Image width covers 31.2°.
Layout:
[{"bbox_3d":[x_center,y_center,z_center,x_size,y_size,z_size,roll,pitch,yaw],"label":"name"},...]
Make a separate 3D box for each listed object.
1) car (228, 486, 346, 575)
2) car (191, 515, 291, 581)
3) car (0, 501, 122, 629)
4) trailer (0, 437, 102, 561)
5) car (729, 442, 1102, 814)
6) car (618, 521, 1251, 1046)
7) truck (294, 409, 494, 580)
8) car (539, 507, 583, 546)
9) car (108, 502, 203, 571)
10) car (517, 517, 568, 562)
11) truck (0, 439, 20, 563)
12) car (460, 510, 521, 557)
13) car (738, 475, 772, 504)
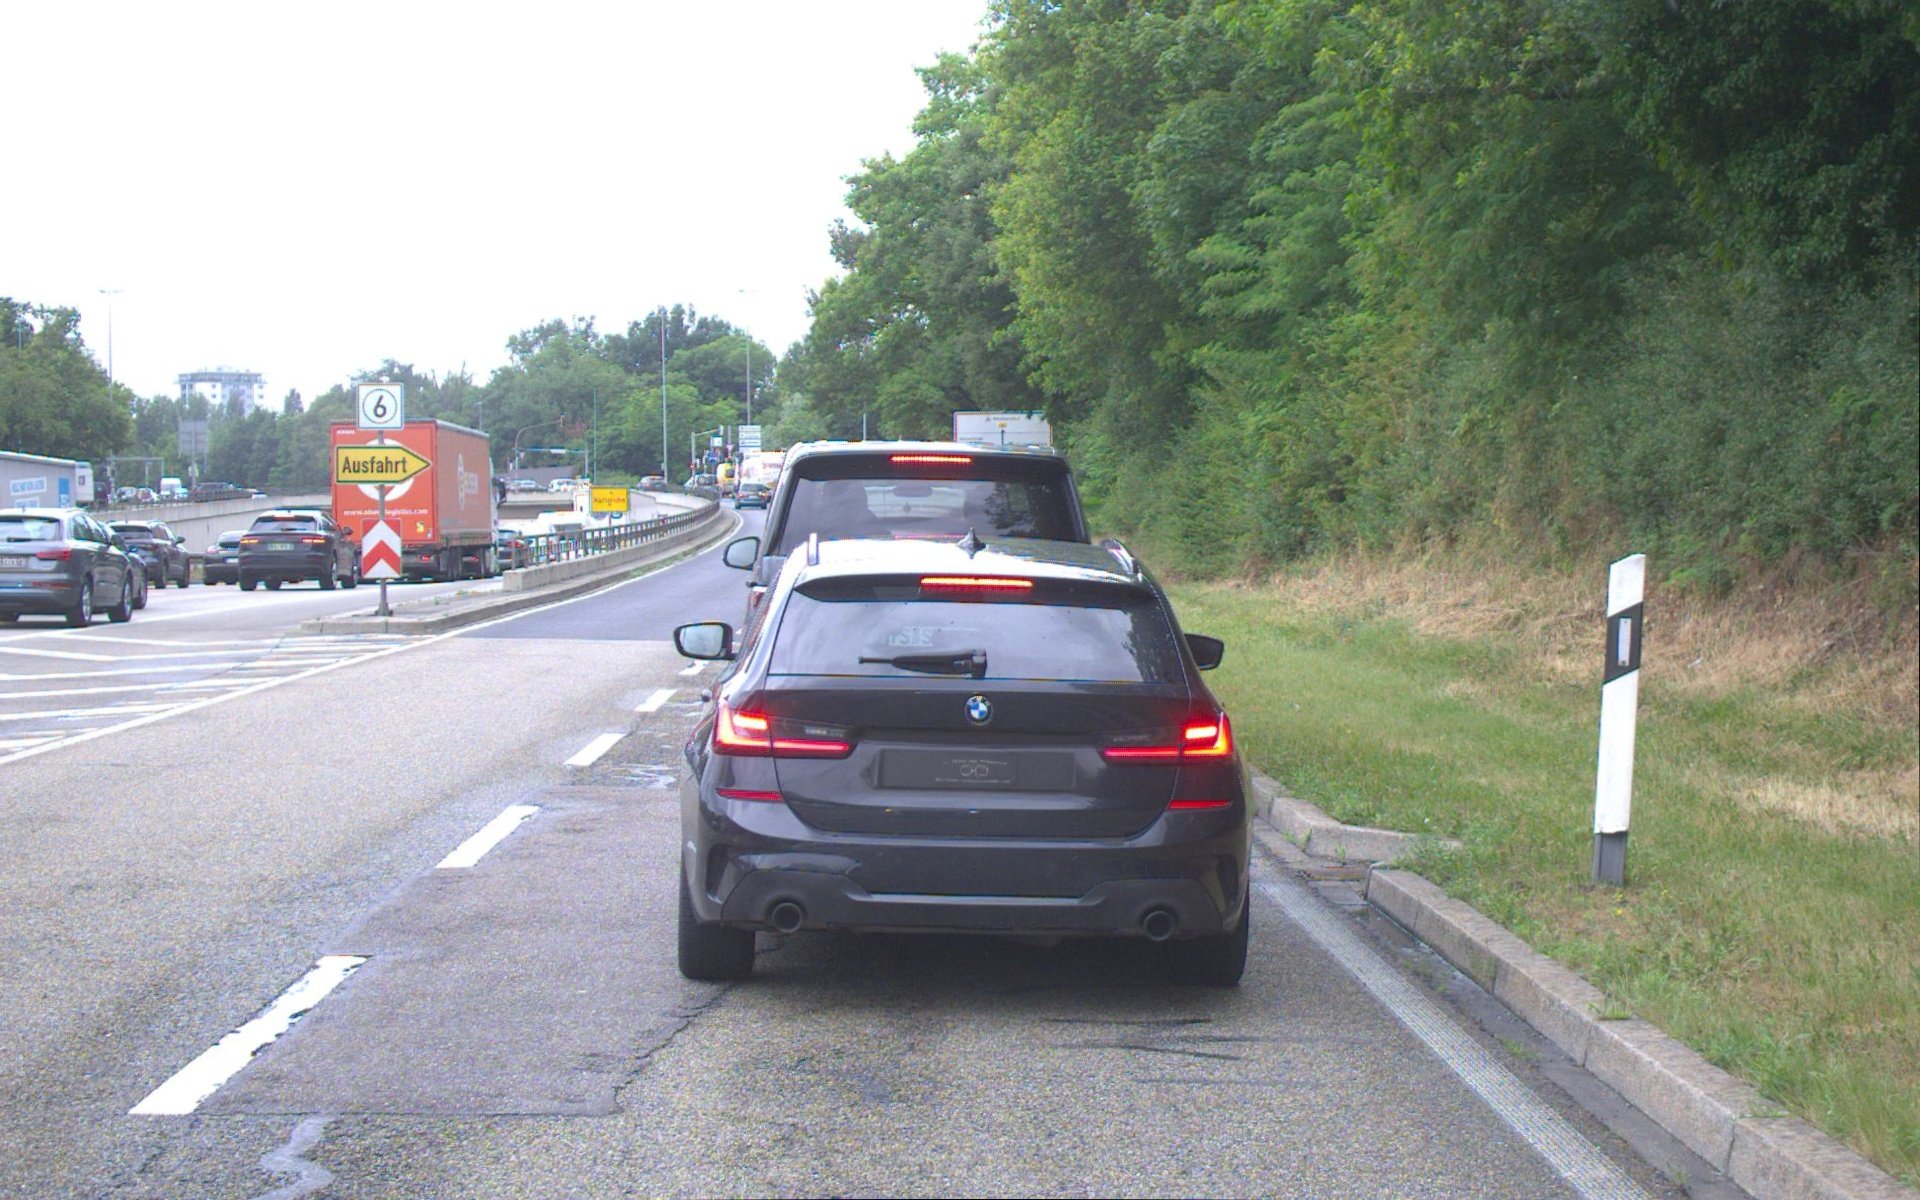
[{"bbox_3d":[-14.327,-1.465,73.332,1.860,1.809,4.000,1,1,-2],"label":"car"},{"bbox_3d":[-18.525,-1.343,88.691,1.859,1.612,4.000,1,1,-2],"label":"car"},{"bbox_3d":[-12.487,-0.504,45.965,1.792,1.634,4.001,0,1,-3],"label":"car"},{"bbox_3d":[-30.011,-3.106,108.314,2.686,3.690,13.260,1,1,0],"label":"trailer"},{"bbox_3d":[-0.253,0.110,19.081,1.822,1.815,4.000,1,1,-1],"label":"car"},{"bbox_3d":[-0.153,0.487,11.987,1.825,1.477,4.001,-1,2,-2],"label":"car"},{"bbox_3d":[-14.547,-2.739,89.547,3.489,4.059,13.594,-1,2,-3],"label":"truck"},{"bbox_3d":[-15.887,-2.939,136.961,1.556,1.546,4.001,0,1,-4],"label":"car"},{"bbox_3d":[-18.317,-1.435,78.409,1.521,1.514,4.001,1,1,-5],"label":"car"},{"bbox_3d":[-14.631,-2.118,120.648,1.556,1.546,3.819,1,1,-4],"label":"car"},{"bbox_3d":[-30.039,-2.961,101.433,2.772,3.697,6.638,1,1,0],"label":"truck"},{"bbox_3d":[-15.114,-2.163,110.809,1.777,1.477,4.001,0,1,-6],"label":"car"},{"bbox_3d":[-12.031,-6.477,201.751,1.811,1.705,4.000,0,1,-1],"label":"car"}]
